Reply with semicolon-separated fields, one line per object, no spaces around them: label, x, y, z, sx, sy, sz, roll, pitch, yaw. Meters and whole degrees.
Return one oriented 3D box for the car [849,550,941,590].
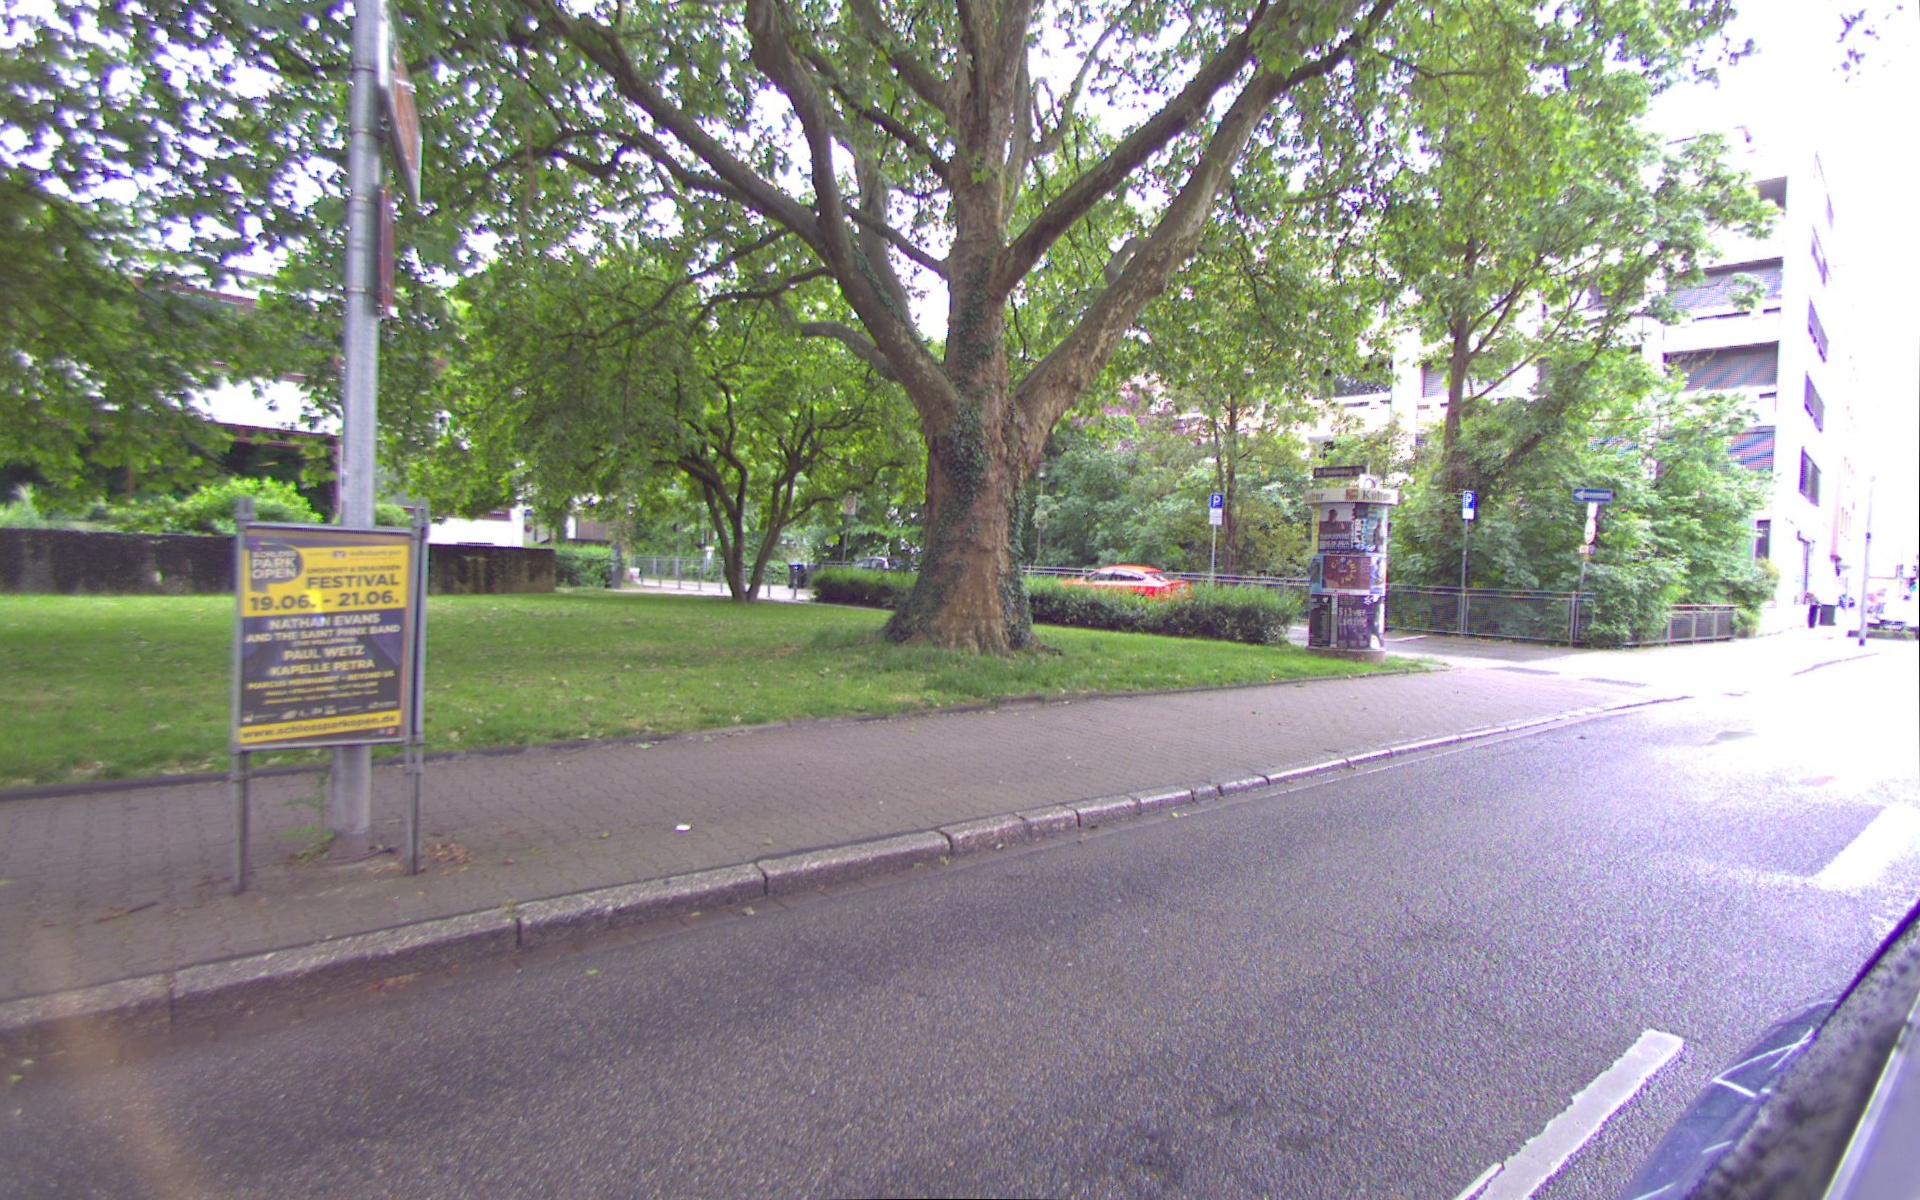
car;-2.440;-1.128;37.384;3.460;1.294;1.426;5;4;45

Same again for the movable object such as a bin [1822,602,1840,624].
movable object such as a bin;41.920;0.625;48.715;0.287;1.054;0.556;0;3;-41

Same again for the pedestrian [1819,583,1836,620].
pedestrian;36.418;0.057;42.472;0.473;1.549;0.480;0;0;-41

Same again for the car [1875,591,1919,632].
car;37.414;0.460;39.742;3.617;1.449;1.681;0;5;-41

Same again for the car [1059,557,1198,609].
car;4.857;-0.536;29.526;1.551;1.294;3.784;-1;4;-44
